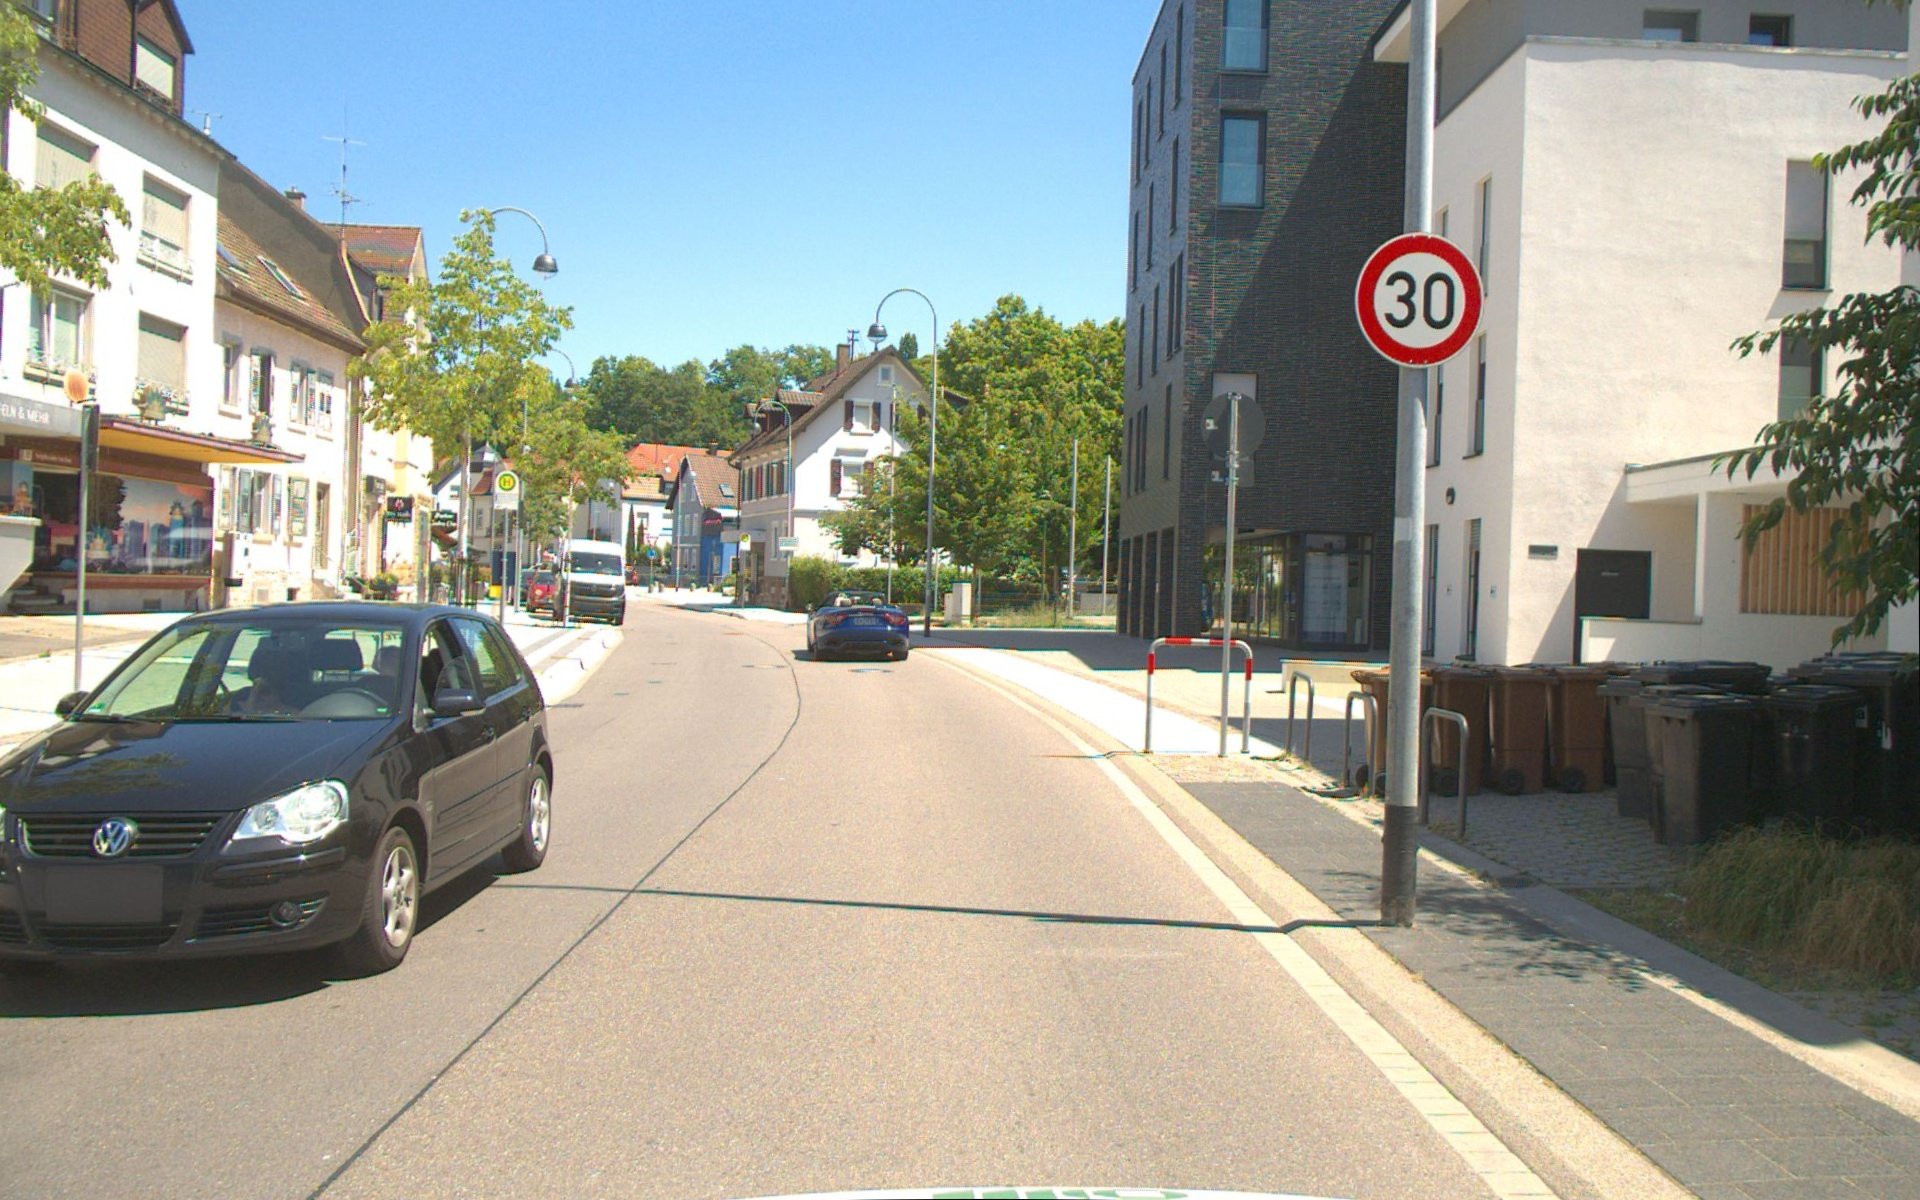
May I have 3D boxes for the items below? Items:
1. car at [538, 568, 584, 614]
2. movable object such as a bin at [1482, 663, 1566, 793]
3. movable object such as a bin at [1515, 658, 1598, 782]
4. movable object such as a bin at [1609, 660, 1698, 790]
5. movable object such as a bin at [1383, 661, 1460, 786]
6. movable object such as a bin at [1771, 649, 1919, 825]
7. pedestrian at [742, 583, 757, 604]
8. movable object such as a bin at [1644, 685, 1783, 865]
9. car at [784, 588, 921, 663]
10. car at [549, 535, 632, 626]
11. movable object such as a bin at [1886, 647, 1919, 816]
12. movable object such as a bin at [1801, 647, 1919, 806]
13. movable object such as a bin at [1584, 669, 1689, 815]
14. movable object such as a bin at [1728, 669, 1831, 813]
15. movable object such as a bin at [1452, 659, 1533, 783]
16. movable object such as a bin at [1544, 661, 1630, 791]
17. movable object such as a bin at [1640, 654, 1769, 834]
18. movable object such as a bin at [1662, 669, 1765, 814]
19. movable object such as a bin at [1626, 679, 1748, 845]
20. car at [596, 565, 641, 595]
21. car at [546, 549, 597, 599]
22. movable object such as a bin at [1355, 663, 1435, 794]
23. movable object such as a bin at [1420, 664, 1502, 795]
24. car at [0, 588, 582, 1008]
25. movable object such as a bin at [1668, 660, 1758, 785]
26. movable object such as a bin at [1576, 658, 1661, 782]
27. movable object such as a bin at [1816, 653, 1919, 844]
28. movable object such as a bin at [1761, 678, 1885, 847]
[{"bbox_3d":[-14.264,-0.334,59.109,1.533,1.547,3.503,2,0,-14],"label":"car"},{"bbox_3d":[4.294,0.965,12.606,0.455,0.947,0.522,0,0,-1],"label":"movable object such as a bin"},{"bbox_3d":[4.750,0.948,13.191,0.463,0.947,0.528,0,0,-1],"label":"movable object such as a bin"},{"bbox_3d":[5.293,0.946,12.641,0.455,0.947,0.522,0,0,-1],"label":"movable object such as a bin"},{"bbox_3d":[3.659,0.973,13.136,0.463,0.947,0.528,0,0,-1],"label":"movable object such as a bin"},{"bbox_3d":[5.727,0.874,10.713,0.633,1.079,0.625,0,0,0],"label":"movable object such as a bin"},{"bbox_3d":[-10.431,-0.328,81.843,0.581,1.017,0.720,0,1,-20],"label":"pedestrian"},{"bbox_3d":[4.215,0.965,9.271,0.550,0.947,0.465,0,0,-7],"label":"movable object such as a bin"},{"bbox_3d":[-2.271,0.479,33.803,1.880,1.384,4.265,1,1,-17],"label":"car"},{"bbox_3d":[-11.441,-0.604,50.916,2.058,2.541,5.479,3,0,-16],"label":"car"},{"bbox_3d":[6.525,0.855,10.774,0.633,1.079,0.625,0,0,0],"label":"movable object such as a bin"},{"bbox_3d":[6.391,0.877,11.697,0.559,1.060,0.558,0,0,-15],"label":"movable object such as a bin"},{"bbox_3d":[4.607,0.955,11.265,0.509,0.940,0.434,0,0,-24],"label":"movable object such as a bin"},{"bbox_3d":[5.655,0.962,11.418,0.475,0.940,0.434,0,0,-24],"label":"movable object such as a bin"},{"bbox_3d":[4.235,0.951,13.174,0.463,0.947,0.528,0,0,-1],"label":"movable object such as a bin"},{"bbox_3d":[4.775,0.954,12.621,0.455,0.947,0.522,0,0,-1],"label":"movable object such as a bin"},{"bbox_3d":[4.676,0.892,10.415,0.557,1.079,0.560,0,0,0],"label":"movable object such as a bin"},{"bbox_3d":[5.152,0.954,11.315,0.475,0.940,0.434,0,0,-24],"label":"movable object such as a bin"},{"bbox_3d":[4.376,0.963,9.974,0.502,0.947,0.465,0,0,-7],"label":"movable object such as a bin"},{"bbox_3d":[-24.919,-1.461,120.610,1.974,2.049,3.958,2,0,-31],"label":"car"},{"bbox_3d":[-19.498,-1.315,82.911,2.122,2.403,5.223,0,1,-17],"label":"car"},{"bbox_3d":[3.294,0.967,12.556,0.463,0.947,0.528,0,0,-1],"label":"movable object such as a bin"},{"bbox_3d":[3.802,0.975,12.578,0.457,0.947,0.528,0,0,-1],"label":"movable object such as a bin"},{"bbox_3d":[-2.993,0.690,7.783,1.583,1.479,3.863,0,0,-1],"label":"car"},{"bbox_3d":[5.924,0.956,13.033,0.463,0.947,0.528,0,0,-1],"label":"movable object such as a bin"},{"bbox_3d":[5.245,0.945,13.191,0.463,0.947,0.528,0,0,-1],"label":"movable object such as a bin"},{"bbox_3d":[5.655,0.873,9.964,0.635,1.079,0.623,0,0,-13],"label":"movable object such as a bin"},{"bbox_3d":[5.118,0.953,9.824,0.475,0.947,0.467,0,0,-7],"label":"movable object such as a bin"}]
